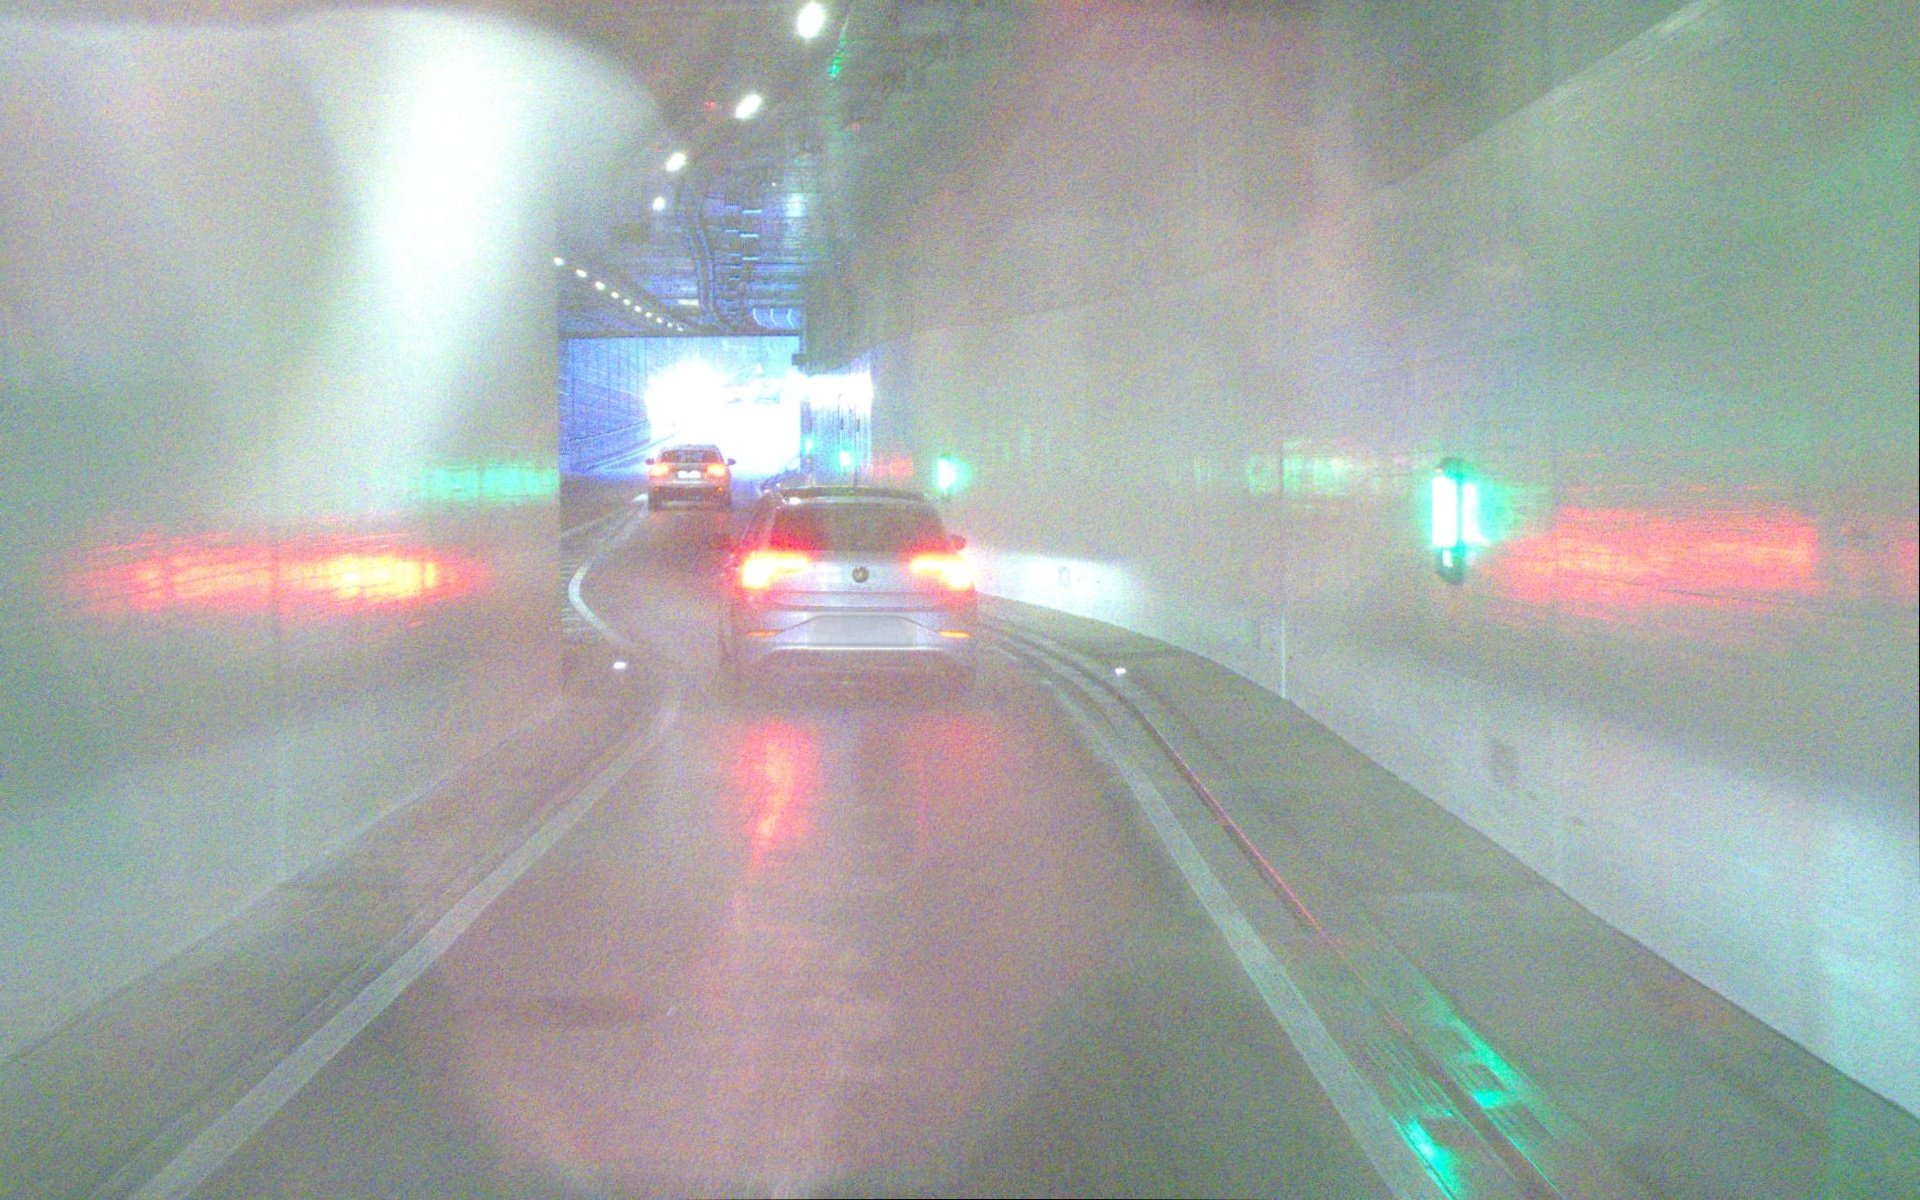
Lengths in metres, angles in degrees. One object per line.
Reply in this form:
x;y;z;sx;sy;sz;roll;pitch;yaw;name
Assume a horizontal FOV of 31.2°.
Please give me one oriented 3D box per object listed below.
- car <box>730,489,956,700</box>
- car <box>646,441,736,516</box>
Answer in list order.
-0.876;-0.091;25.232;1.531;1.392;3.434;0;2;-2;car
-6.107;-2.733;77.843;1.880;1.615;4.001;1;1;-6;car
